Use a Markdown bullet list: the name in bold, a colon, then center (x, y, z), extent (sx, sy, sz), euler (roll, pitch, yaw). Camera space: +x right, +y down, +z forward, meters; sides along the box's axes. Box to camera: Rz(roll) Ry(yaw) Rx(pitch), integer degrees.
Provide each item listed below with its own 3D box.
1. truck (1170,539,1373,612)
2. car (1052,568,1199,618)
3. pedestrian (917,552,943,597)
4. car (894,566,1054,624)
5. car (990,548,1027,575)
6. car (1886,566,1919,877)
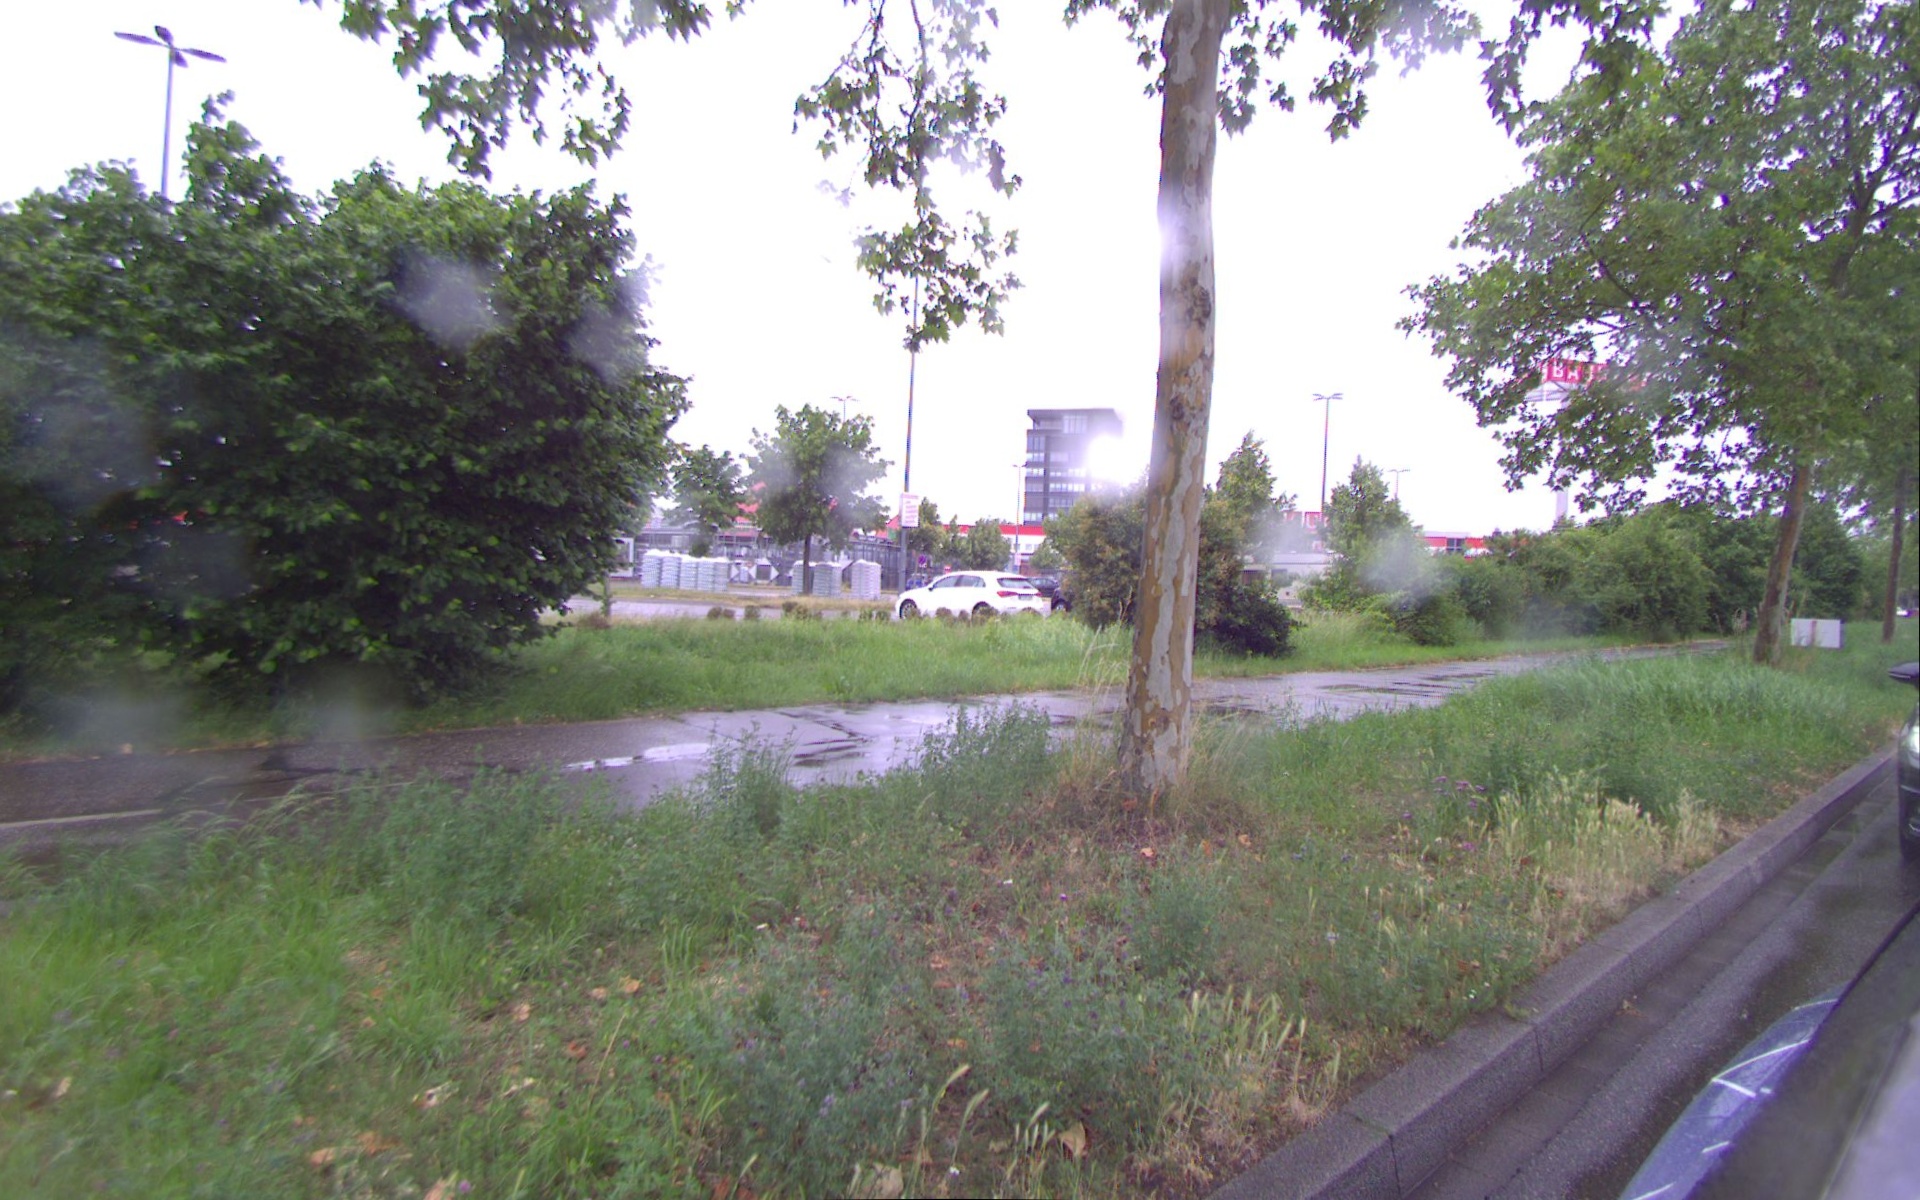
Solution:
- **truck**: center (10.734, -0.818, 35.336), extent (6.530, 2.333, 2.186), euler (1, 1, 43)
- **car**: center (4.887, -0.239, 30.187), extent (1.967, 1.382, 3.990), euler (-1, 1, -44)
- **pedestrian**: center (-1.240, -1.059, 42.001), extent (0.702, 1.810, 0.786), euler (3, 1, 45)
- **car**: center (0.297, -0.153, 25.873), extent (1.838, 1.382, 3.990), euler (-1, 1, -44)
- **car**: center (3.235, -2.524, 66.788), extent (1.968, 1.738, 3.990), euler (2, 2, 10)
- **car**: center (7.303, 0.635, 6.228), extent (4.633, 1.635, 1.787), euler (0, 0, -40)
